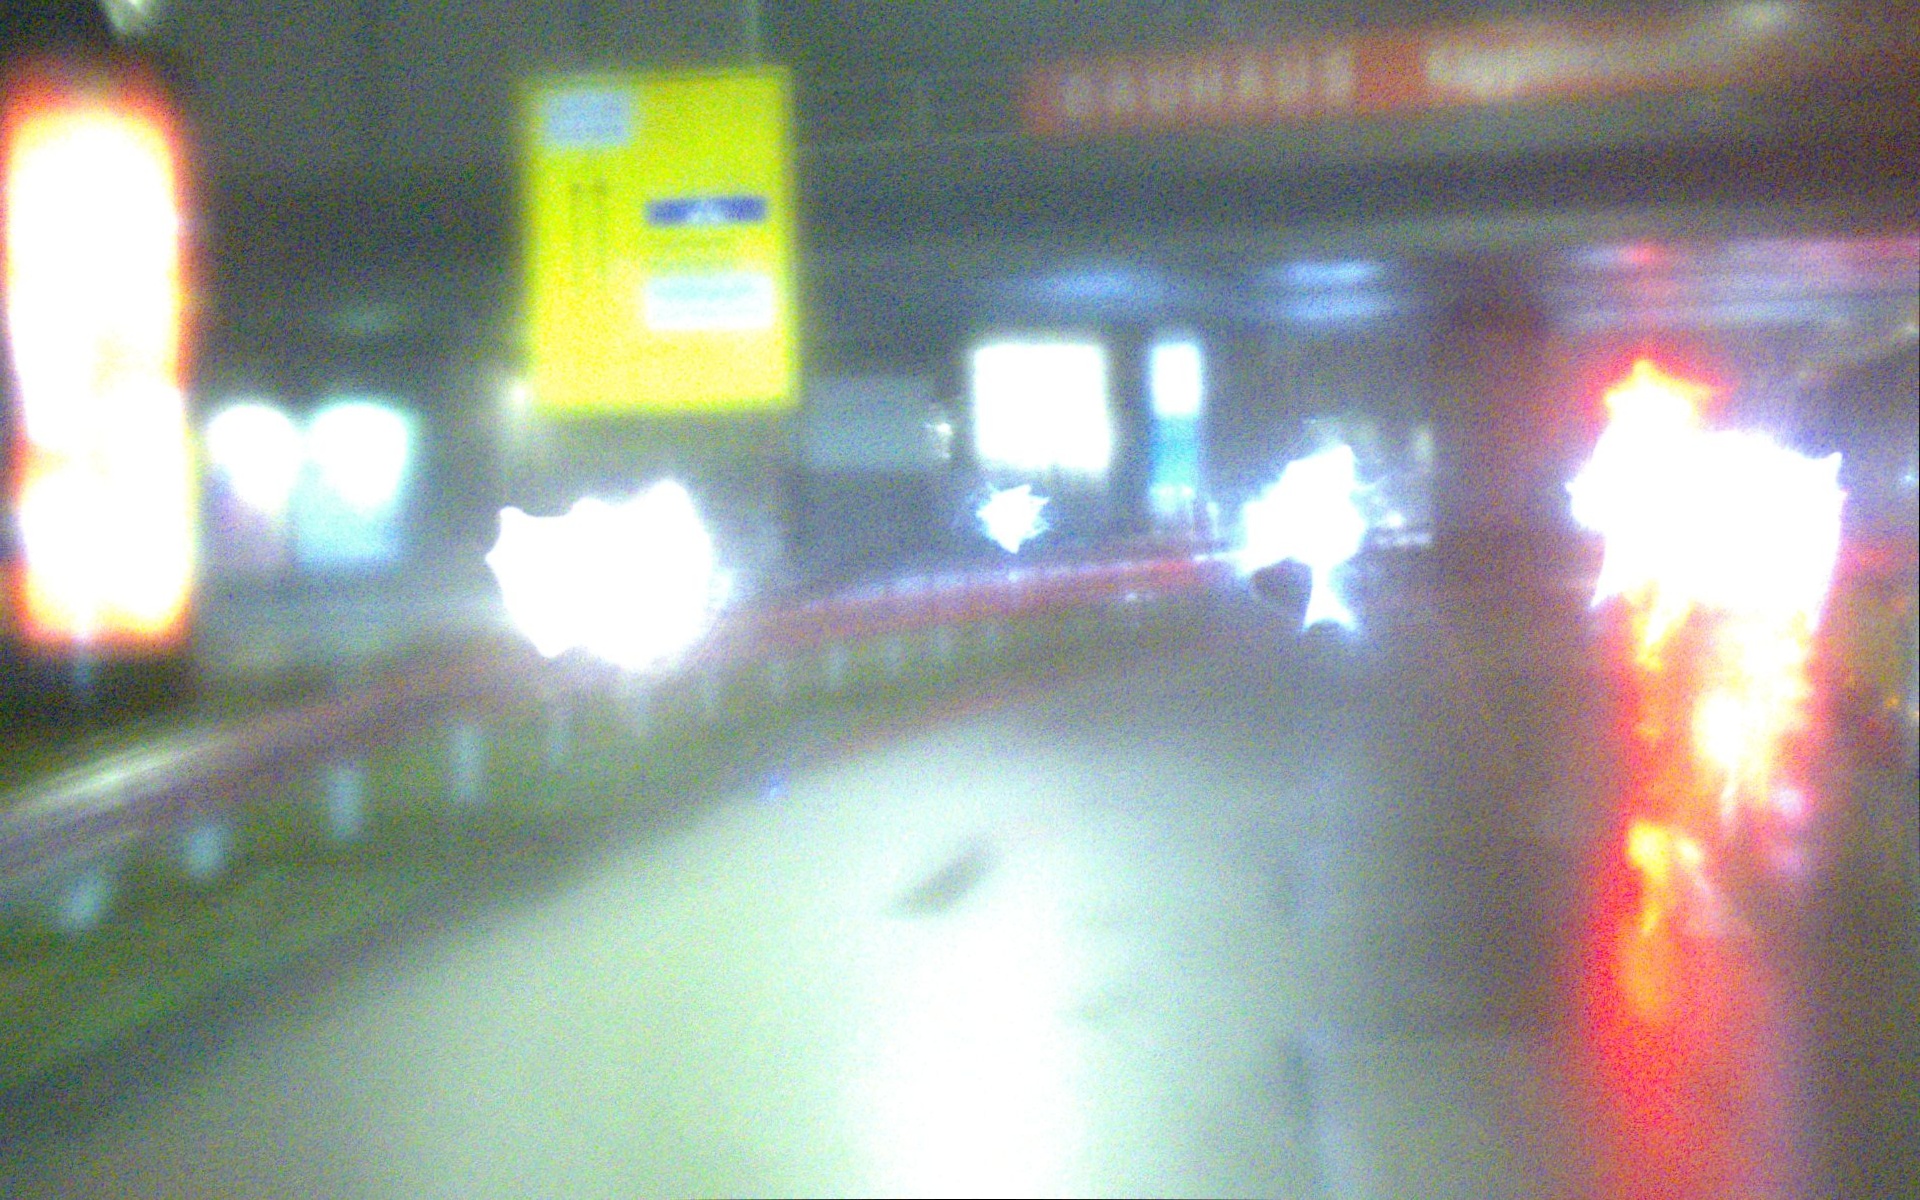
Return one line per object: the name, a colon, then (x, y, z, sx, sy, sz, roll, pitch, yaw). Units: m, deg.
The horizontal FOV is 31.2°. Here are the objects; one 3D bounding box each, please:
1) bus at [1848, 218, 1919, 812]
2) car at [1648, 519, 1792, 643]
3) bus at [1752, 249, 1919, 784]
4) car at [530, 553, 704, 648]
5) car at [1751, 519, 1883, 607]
bus: (6.436, -0.381, 15.896, 3.044, 3.201, 9.049, 2, 1, 6)
car: (10.920, -0.298, 49.242, 1.789, 1.678, 3.997, 1, 1, 15)
bus: (7.651, -0.529, 24.899, 3.045, 3.201, 9.047, 2, 1, 9)
car: (-5.392, -0.009, 54.498, 1.567, 1.422, 3.950, 1, 1, 13)
car: (17.066, -0.759, 68.385, 1.790, 1.678, 3.995, 1, 1, 25)
